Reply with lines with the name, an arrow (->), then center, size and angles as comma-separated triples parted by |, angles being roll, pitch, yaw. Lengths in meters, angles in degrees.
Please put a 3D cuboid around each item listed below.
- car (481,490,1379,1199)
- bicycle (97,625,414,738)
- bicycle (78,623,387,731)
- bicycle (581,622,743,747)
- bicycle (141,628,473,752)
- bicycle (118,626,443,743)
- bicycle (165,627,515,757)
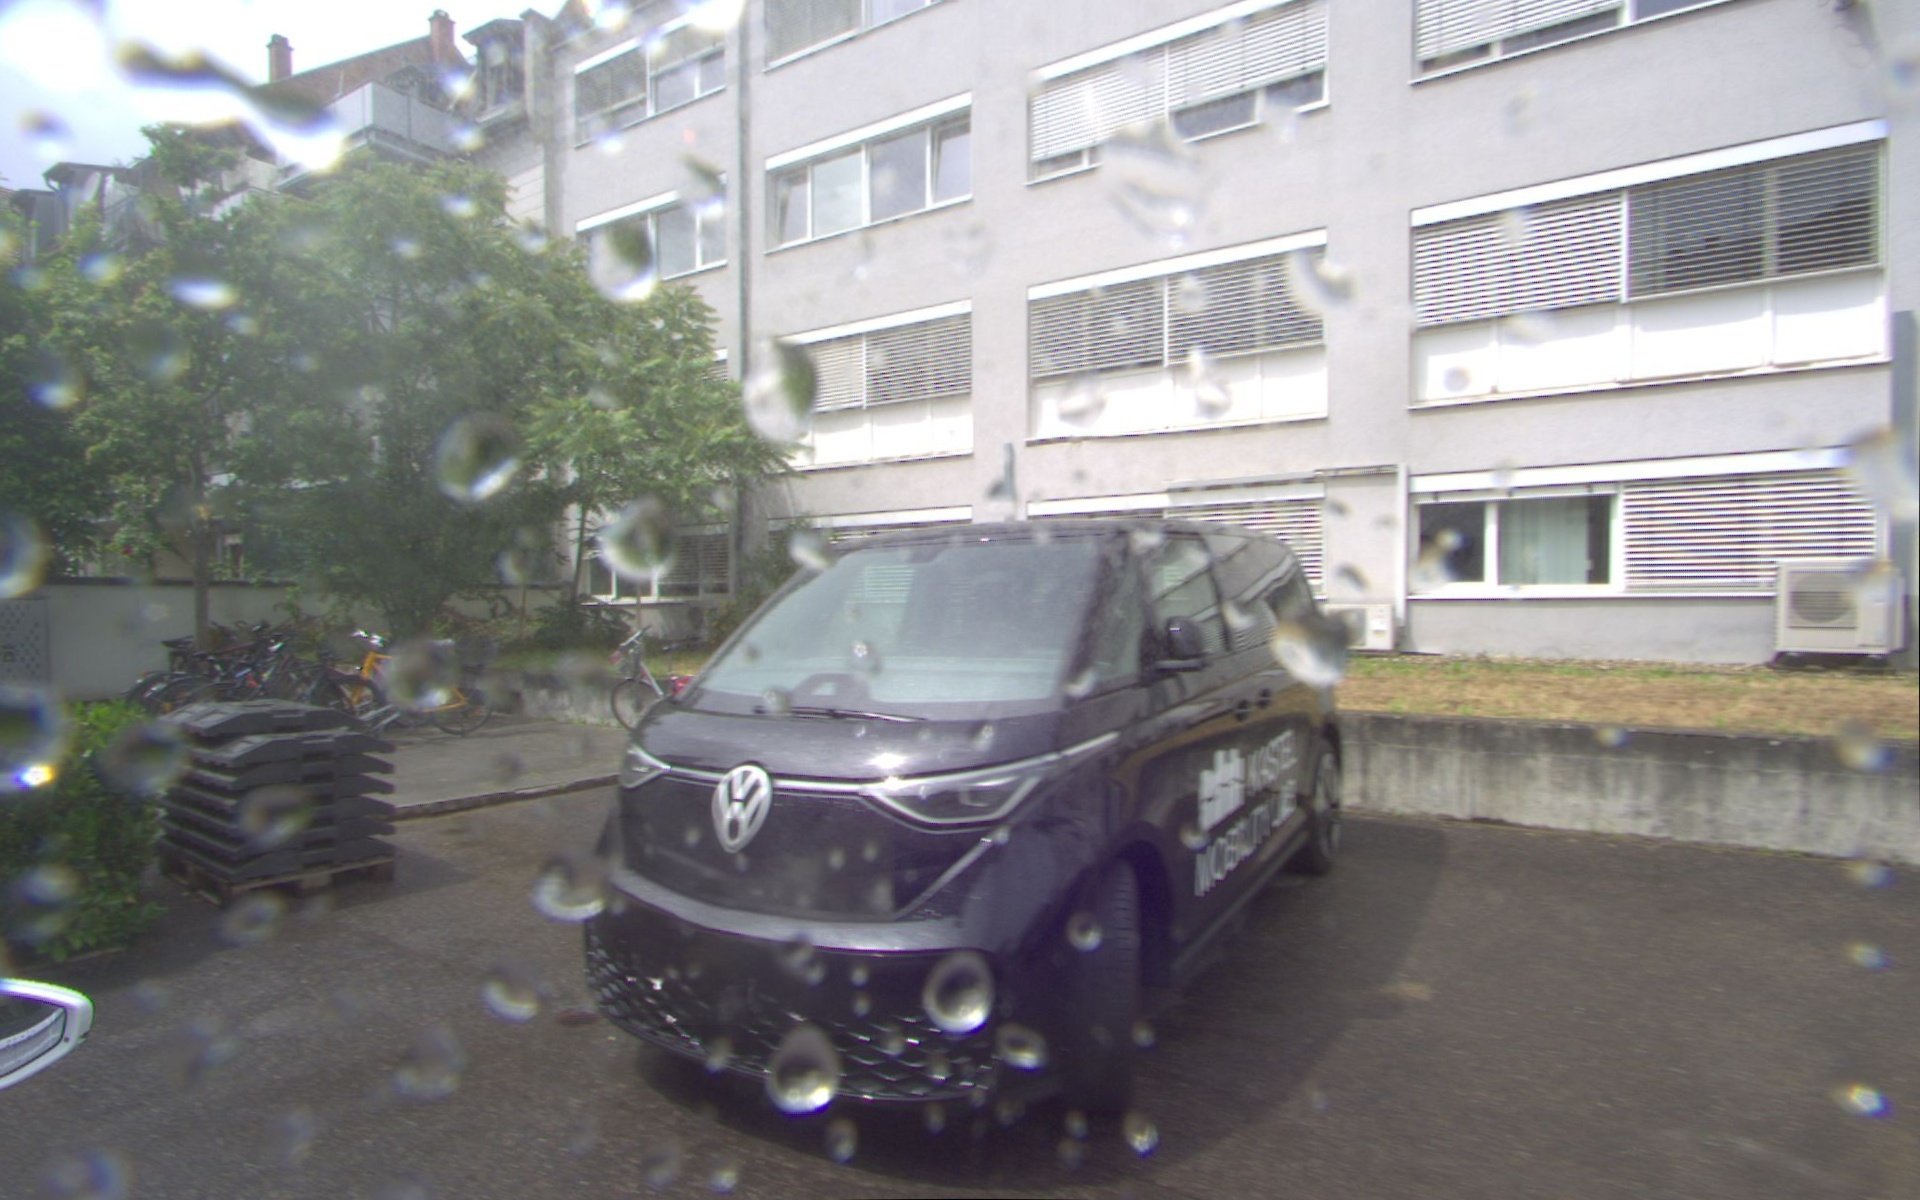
car -> 0.514, 0.630, 4.825 | 2.080, 1.858, 4.699 | 0, 2, 32
bicycle -> -7.752, 0.838, 11.234 | 0.680, 1.092, 2.835 | 2, 0, 35
bicycle -> -8.315, 0.827, 11.647 | 0.680, 1.092, 2.835 | 2, 0, 35
bicycle -> -3.067, 0.821, 10.268 | 1.698, 1.174, 0.612 | 0, 1, 32
bicycle -> -6.615, 0.849, 10.385 | 0.680, 1.092, 2.835 | 2, 0, 35
bicycle -> -7.185, 0.834, 10.815 | 0.680, 1.092, 2.835 | 2, 0, 35
bicycle -> -5.982, 0.820, 9.945 | 0.680, 1.092, 2.915 | 2, 0, 35
